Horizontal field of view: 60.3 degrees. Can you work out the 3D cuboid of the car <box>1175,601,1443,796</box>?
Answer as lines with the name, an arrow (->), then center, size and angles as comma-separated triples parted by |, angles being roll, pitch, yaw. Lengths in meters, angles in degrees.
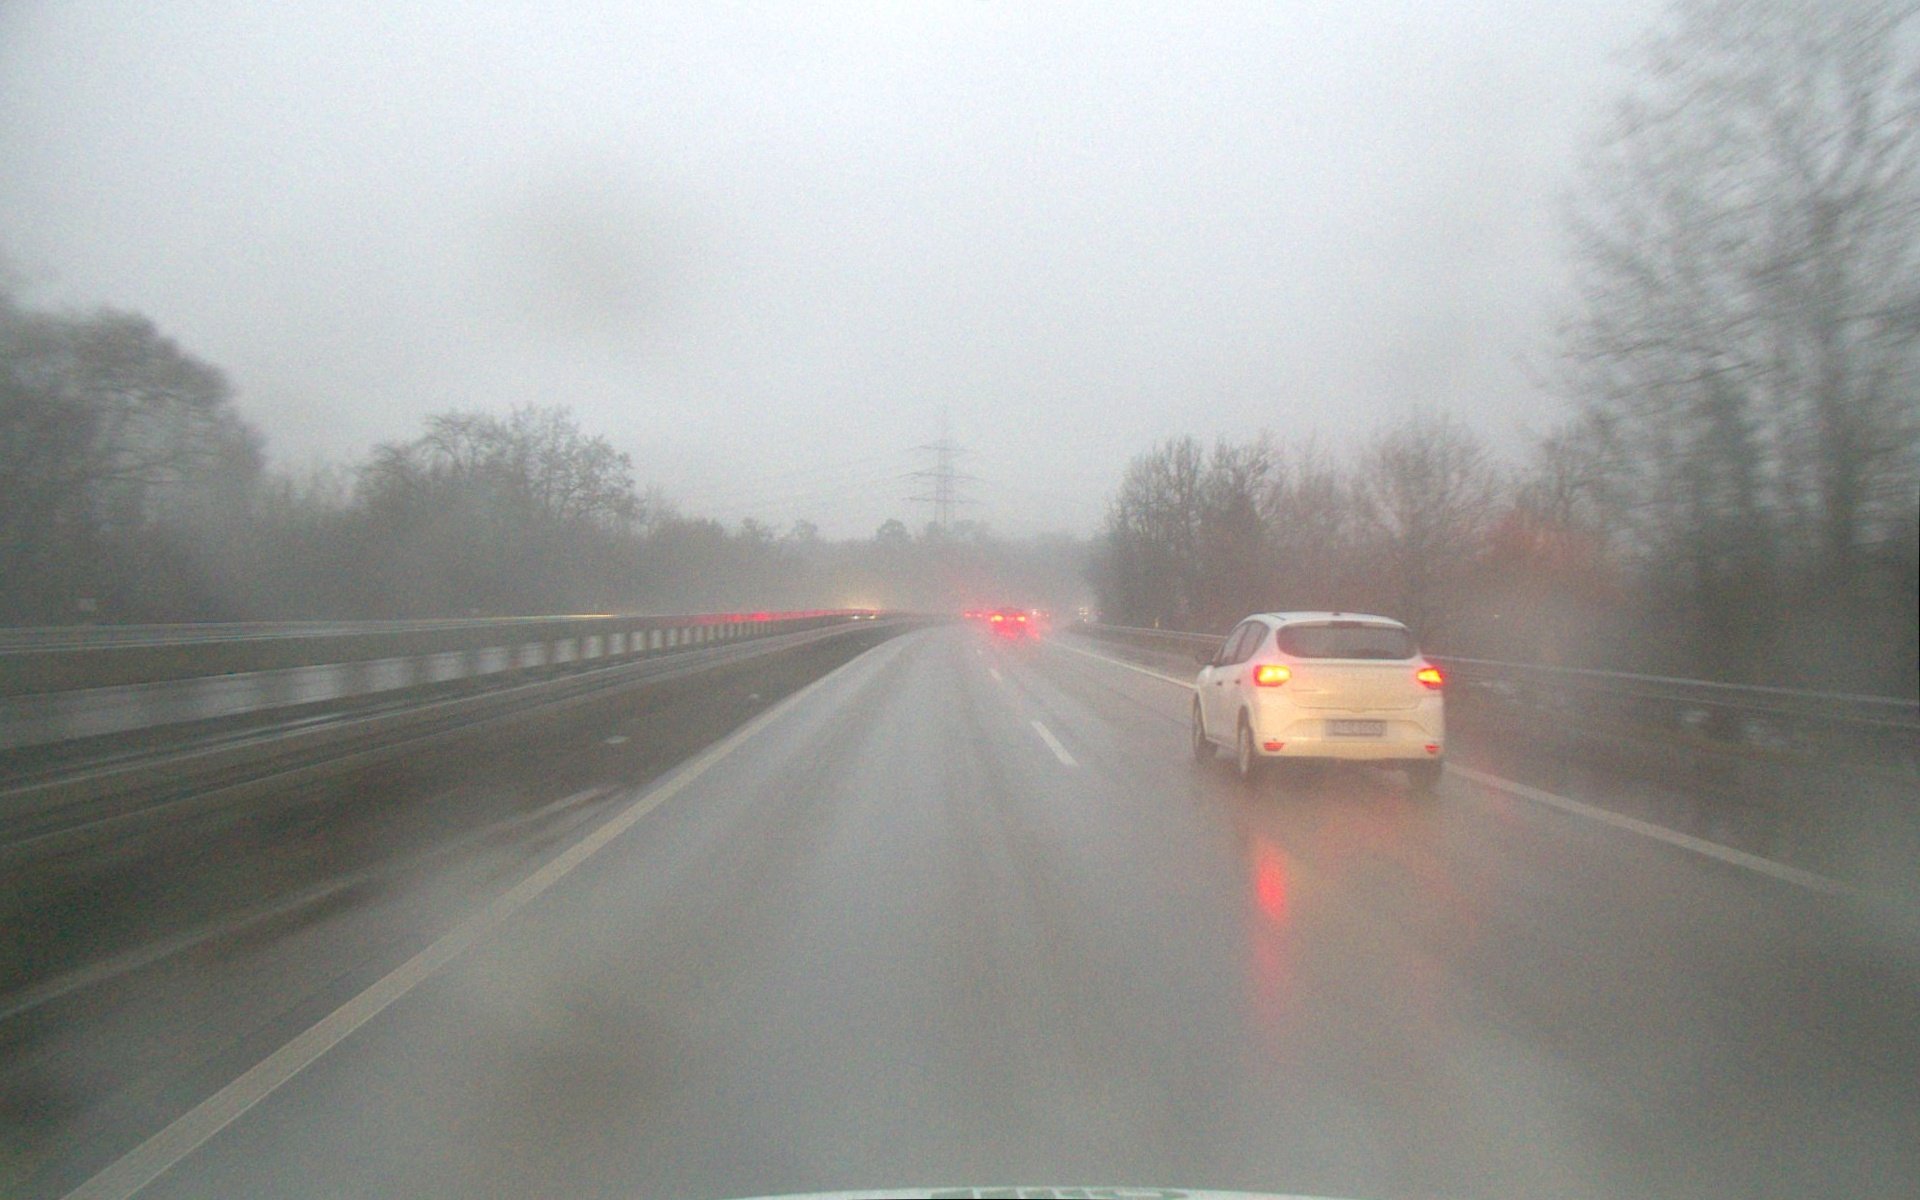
car -> 3.282, 0.862, 16.261 | 1.808, 1.664, 3.767 | 0, 0, -1
